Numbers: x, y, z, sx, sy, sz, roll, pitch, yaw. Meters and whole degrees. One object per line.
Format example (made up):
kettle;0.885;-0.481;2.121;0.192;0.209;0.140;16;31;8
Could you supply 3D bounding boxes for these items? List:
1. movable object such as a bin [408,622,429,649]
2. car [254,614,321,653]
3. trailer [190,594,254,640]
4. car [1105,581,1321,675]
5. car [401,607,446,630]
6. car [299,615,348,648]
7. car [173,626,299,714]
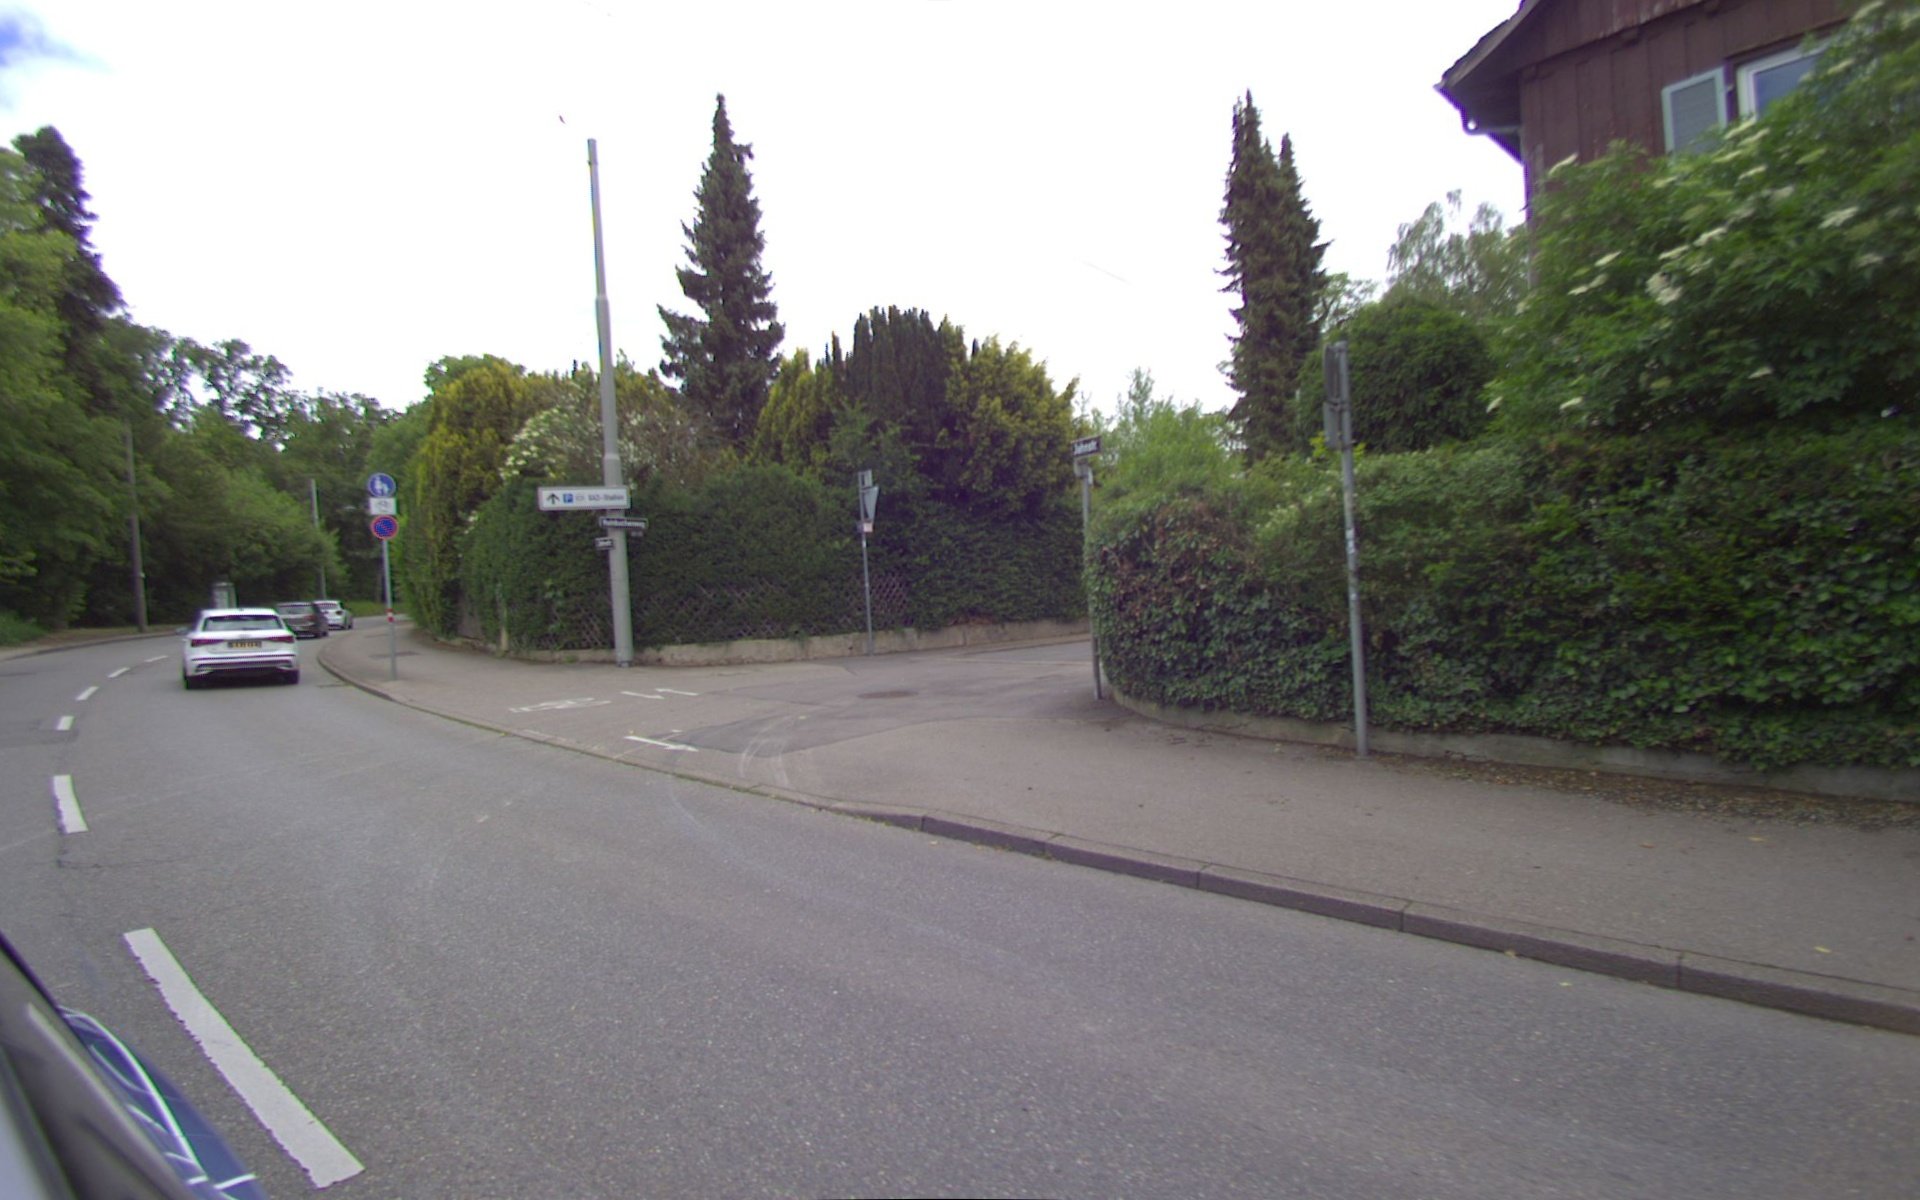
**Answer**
movable object such as a bin;-24.026;1.559;44.902;0.730;1.150;0.648;-4;1;-27
car;-26.179;1.275;39.364;1.888;1.409;3.917;0;-1;-38
trailer;-48.570;1.105;66.638;3.072;2.921;1.598;-1;0;-21
car;5.005;0.477;19.593;1.889;1.426;4.694;-3;1;44
car;-41.601;1.448;78.553;1.967;1.630;4.009;-2;-2;-11
car;-31.016;1.503;49.297;1.877;1.465;3.806;-2;0;-34
car;-14.142;1.266;19.683;1.784;1.454;4.206;0;-1;-38
